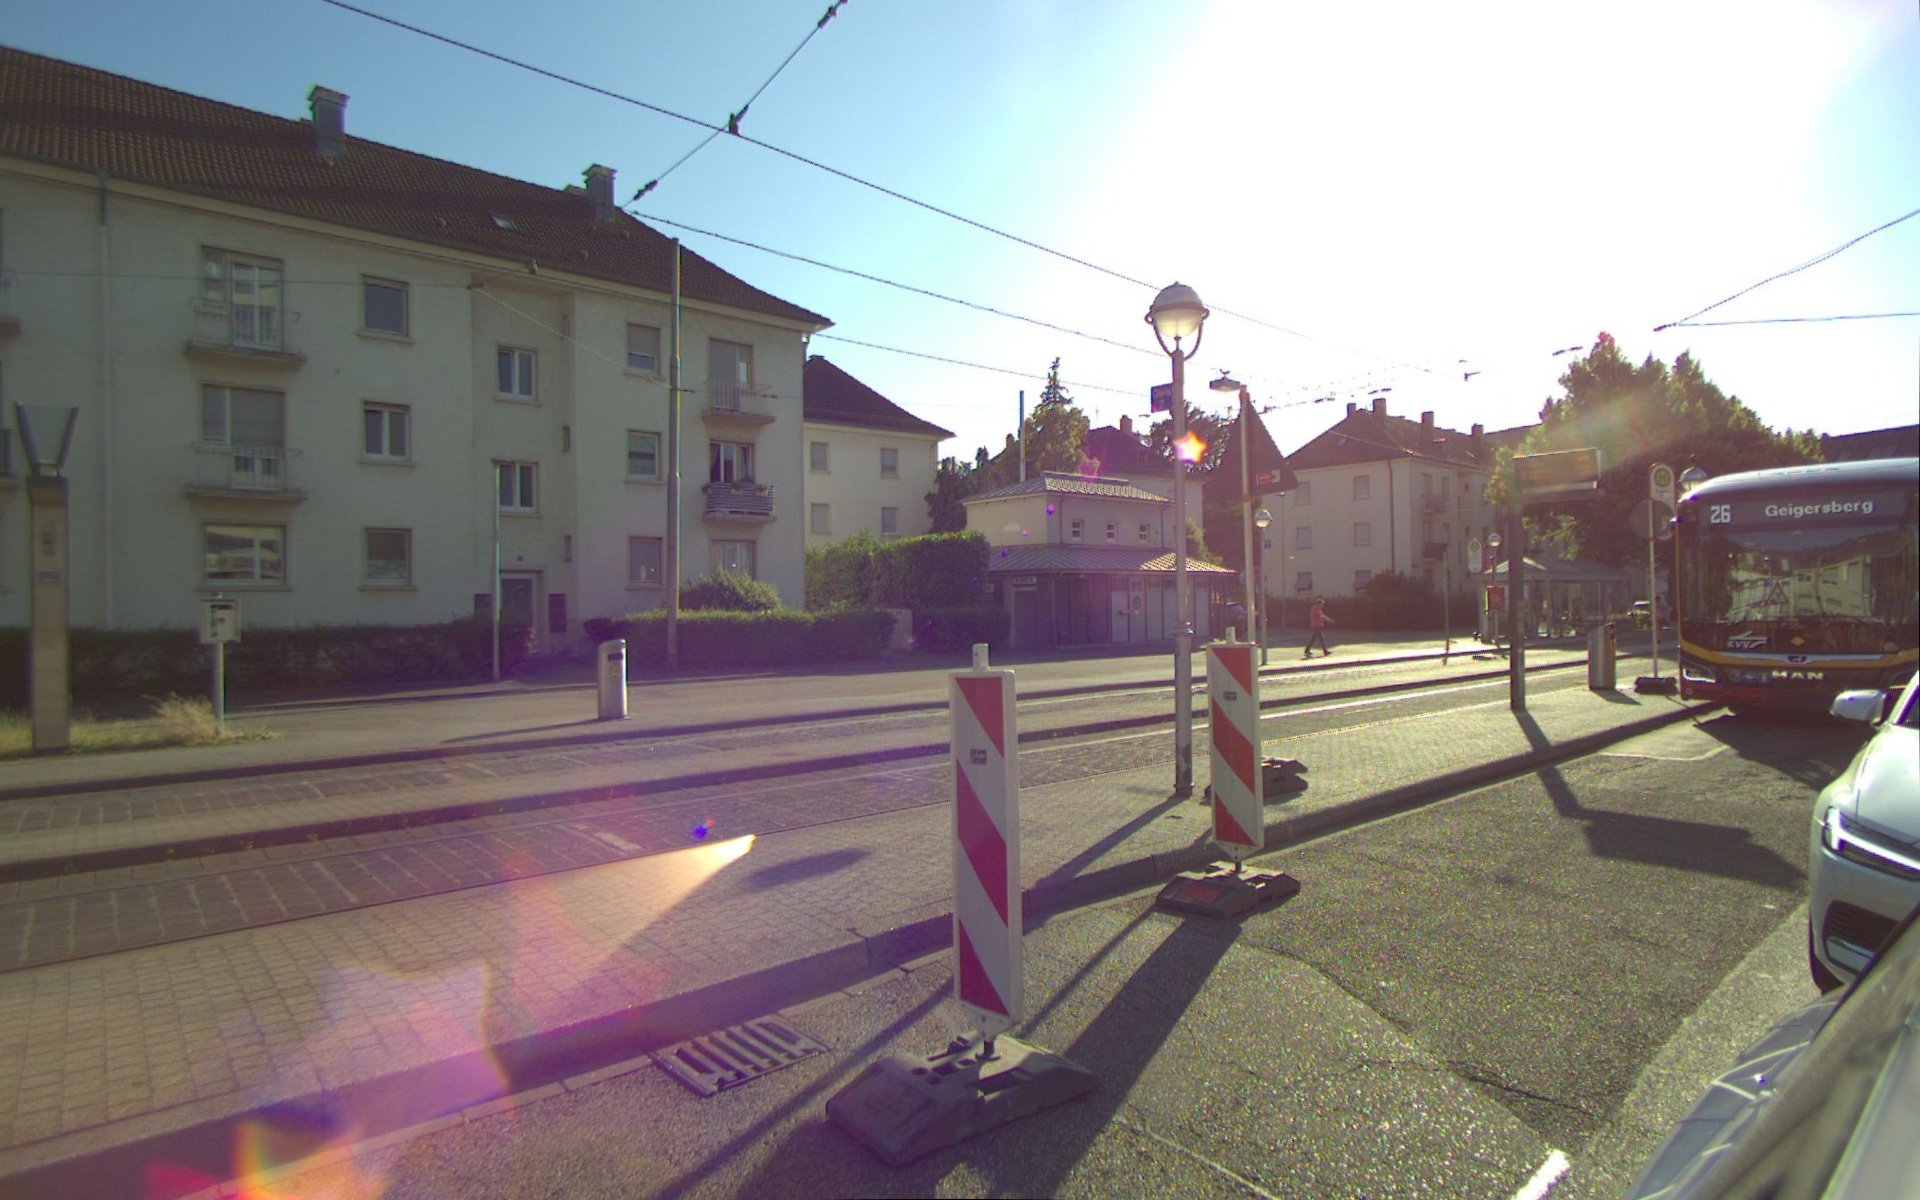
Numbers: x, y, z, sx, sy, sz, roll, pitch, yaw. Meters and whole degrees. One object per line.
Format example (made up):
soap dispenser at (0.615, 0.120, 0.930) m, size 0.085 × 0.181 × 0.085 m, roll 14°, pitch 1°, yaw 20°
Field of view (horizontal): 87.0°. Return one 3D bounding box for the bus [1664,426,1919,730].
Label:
bus at (14.319, -0.264, 15.857) m, size 11.824 × 3.345 × 2.745 m, roll 0°, pitch 0°, yaw -42°

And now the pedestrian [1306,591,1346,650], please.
pedestrian at (11.089, 0.598, 30.677) m, size 0.810 × 1.740 × 0.842 m, roll 0°, pitch 0°, yaw -38°

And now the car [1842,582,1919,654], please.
car at (21.227, 0.359, 22.375) m, size 4.740 × 1.477 × 1.968 m, roll 0°, pitch 0°, yaw -41°

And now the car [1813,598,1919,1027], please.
car at (5.275, 0.731, 4.369) m, size 4.143 × 1.472 × 1.819 m, roll 0°, pitch 0°, yaw -41°

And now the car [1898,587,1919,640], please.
car at (28.786, 0.369, 29.241) m, size 4.740 × 1.477 × 1.968 m, roll 0°, pitch 0°, yaw -41°

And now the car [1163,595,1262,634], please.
car at (11.586, 0.681, 46.679) m, size 1.964 × 1.694 × 4.050 m, roll -1°, pitch -1°, yaw -39°

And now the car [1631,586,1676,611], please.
car at (53.779, -0.111, 78.447) m, size 3.930 × 1.887 × 1.997 m, roll -1°, pitch 0°, yaw -41°

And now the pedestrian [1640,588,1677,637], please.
pedestrian at (23.371, 0.405, 33.871) m, size 0.814 × 1.631 × 0.837 m, roll 0°, pitch 0°, yaw 19°
